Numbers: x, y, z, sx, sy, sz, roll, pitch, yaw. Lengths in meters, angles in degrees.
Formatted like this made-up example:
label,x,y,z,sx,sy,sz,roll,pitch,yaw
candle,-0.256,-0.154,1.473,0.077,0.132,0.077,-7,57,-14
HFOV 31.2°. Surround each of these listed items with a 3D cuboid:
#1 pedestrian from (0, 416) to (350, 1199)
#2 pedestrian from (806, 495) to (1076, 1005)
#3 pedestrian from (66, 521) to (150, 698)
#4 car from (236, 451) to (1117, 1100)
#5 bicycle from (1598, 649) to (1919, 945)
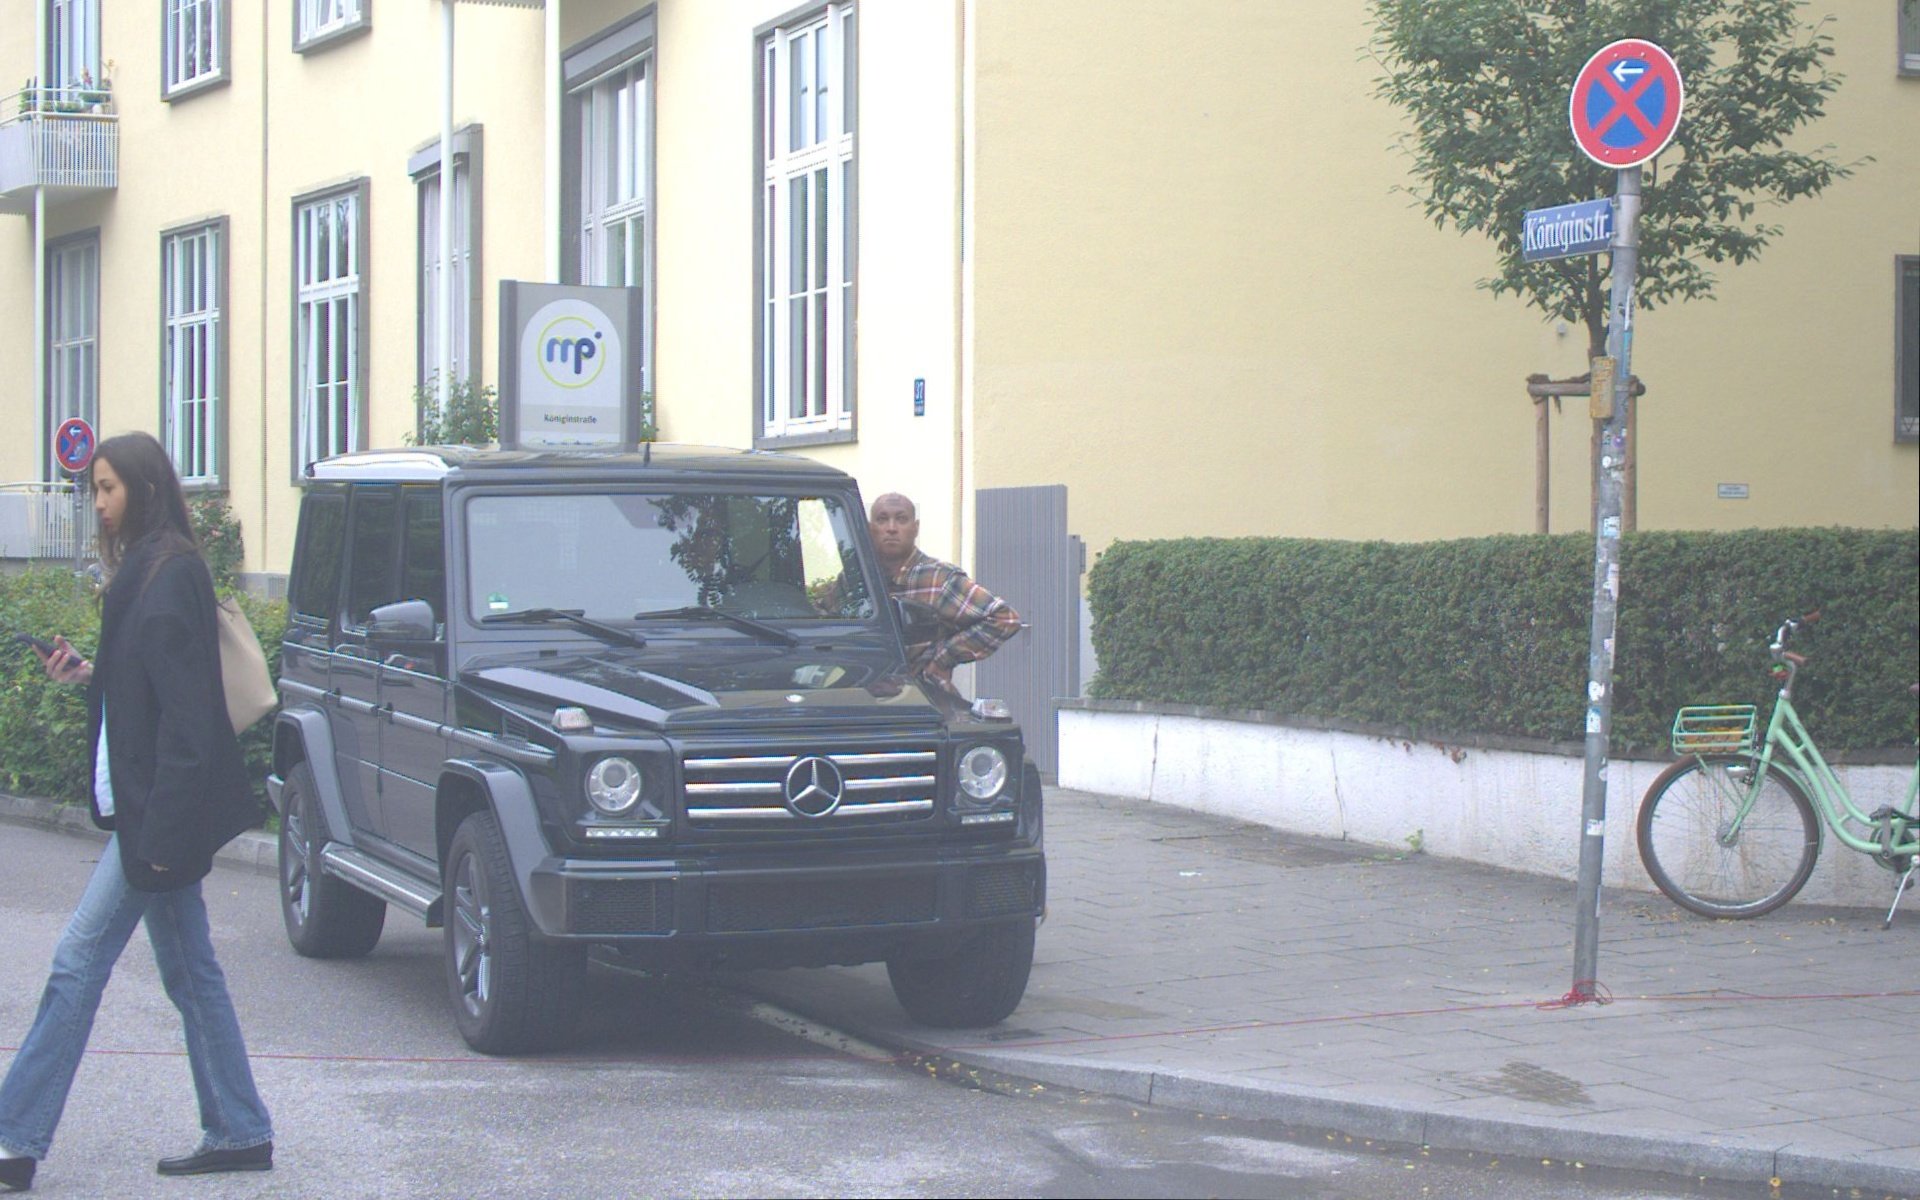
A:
label,x,y,z,sx,sy,sz,roll,pitch,yaw
pedestrian,-1.980,0.499,8.368,0.850,1.851,0.767,-1,1,-16
pedestrian,-0.083,0.507,12.372,0.848,1.751,0.954,-1,1,-7
pedestrian,-8.274,0.083,33.378,0.631,1.678,0.698,-1,1,-26
car,-1.254,0.461,12.453,1.873,1.881,4.620,-1,1,-22
bicycle,3.445,0.733,13.038,1.947,1.081,0.528,-2,-1,34
